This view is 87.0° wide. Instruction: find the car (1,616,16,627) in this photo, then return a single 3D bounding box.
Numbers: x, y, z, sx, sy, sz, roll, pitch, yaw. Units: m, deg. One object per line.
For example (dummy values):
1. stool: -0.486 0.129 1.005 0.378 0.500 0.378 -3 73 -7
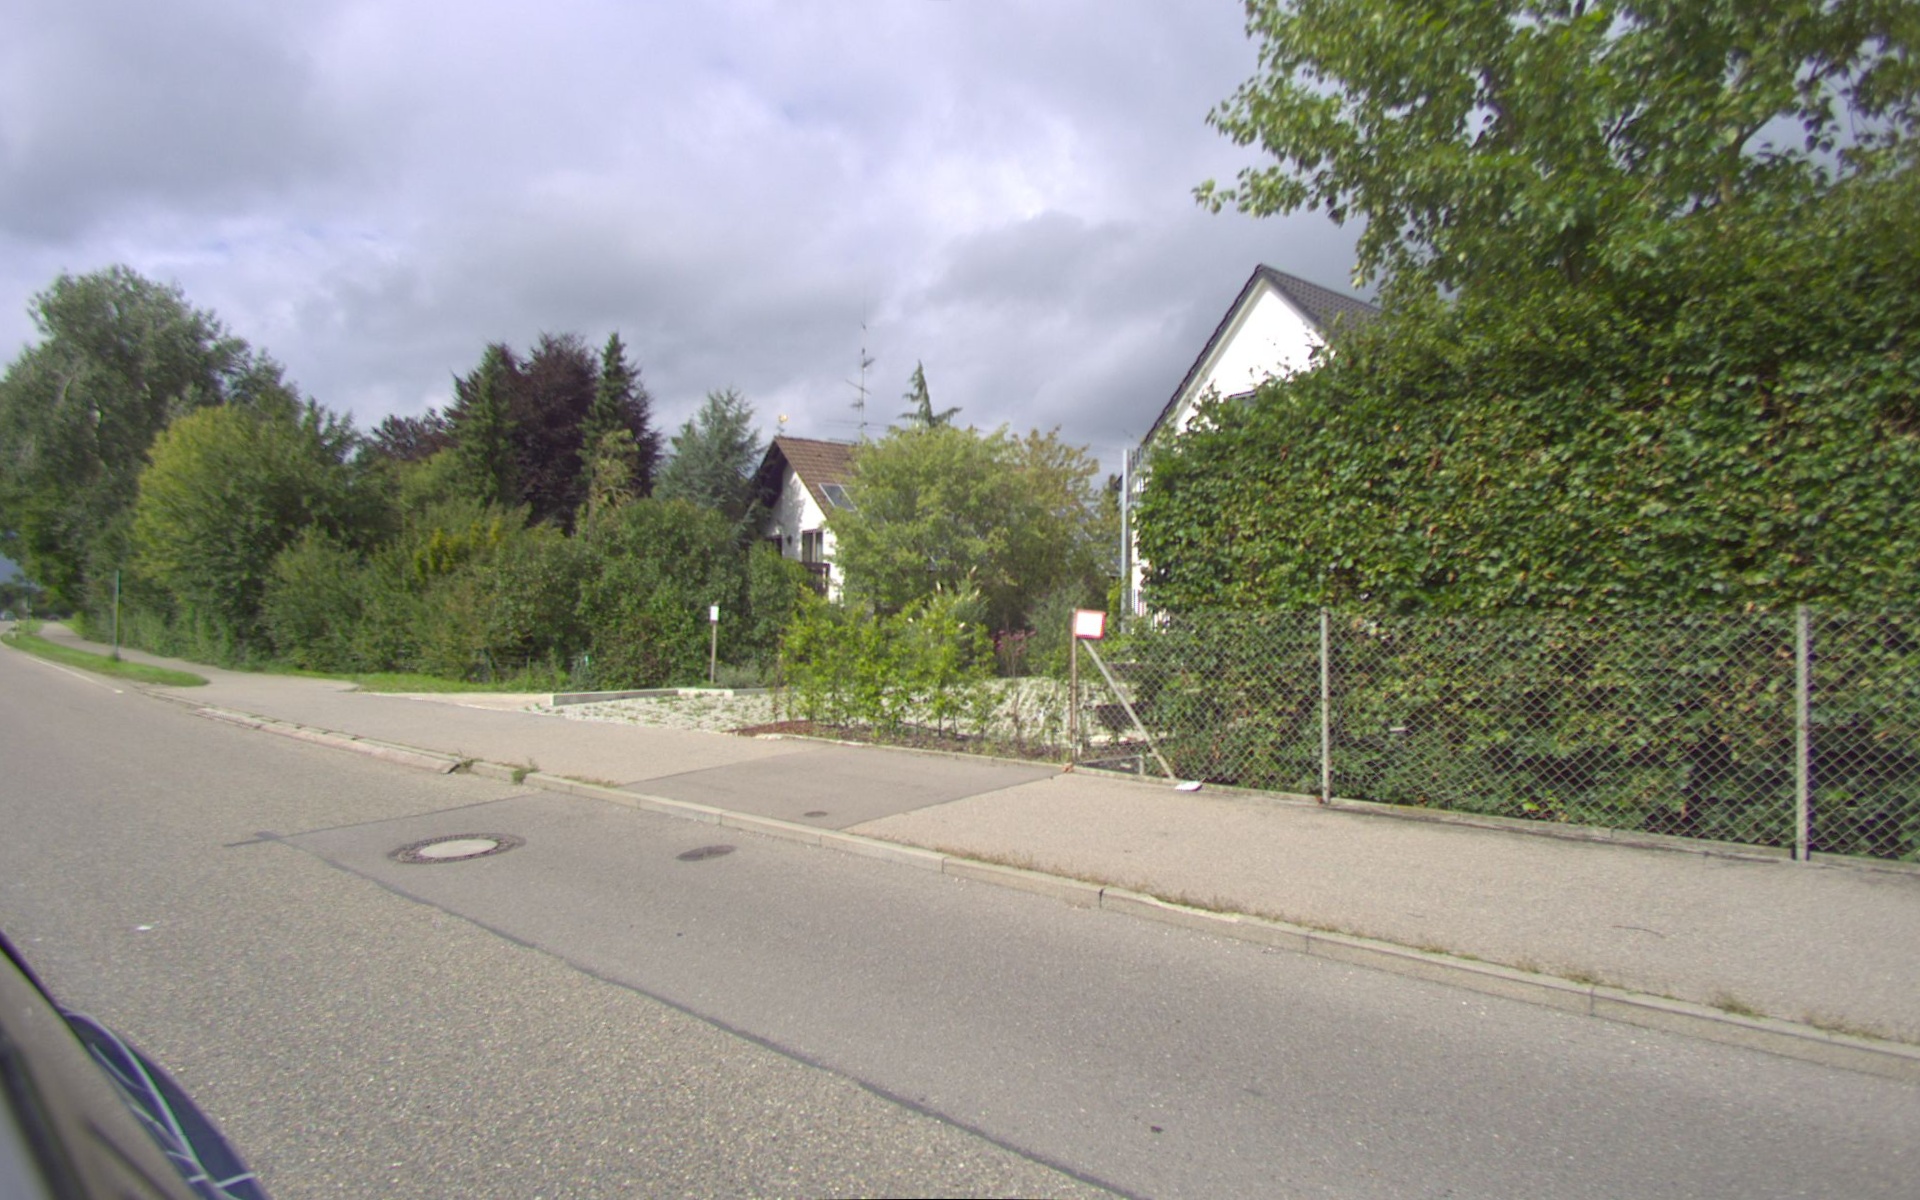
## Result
1. car: -162.755 3.669 173.123 1.789 1.663 4.297 3 -3 -42
